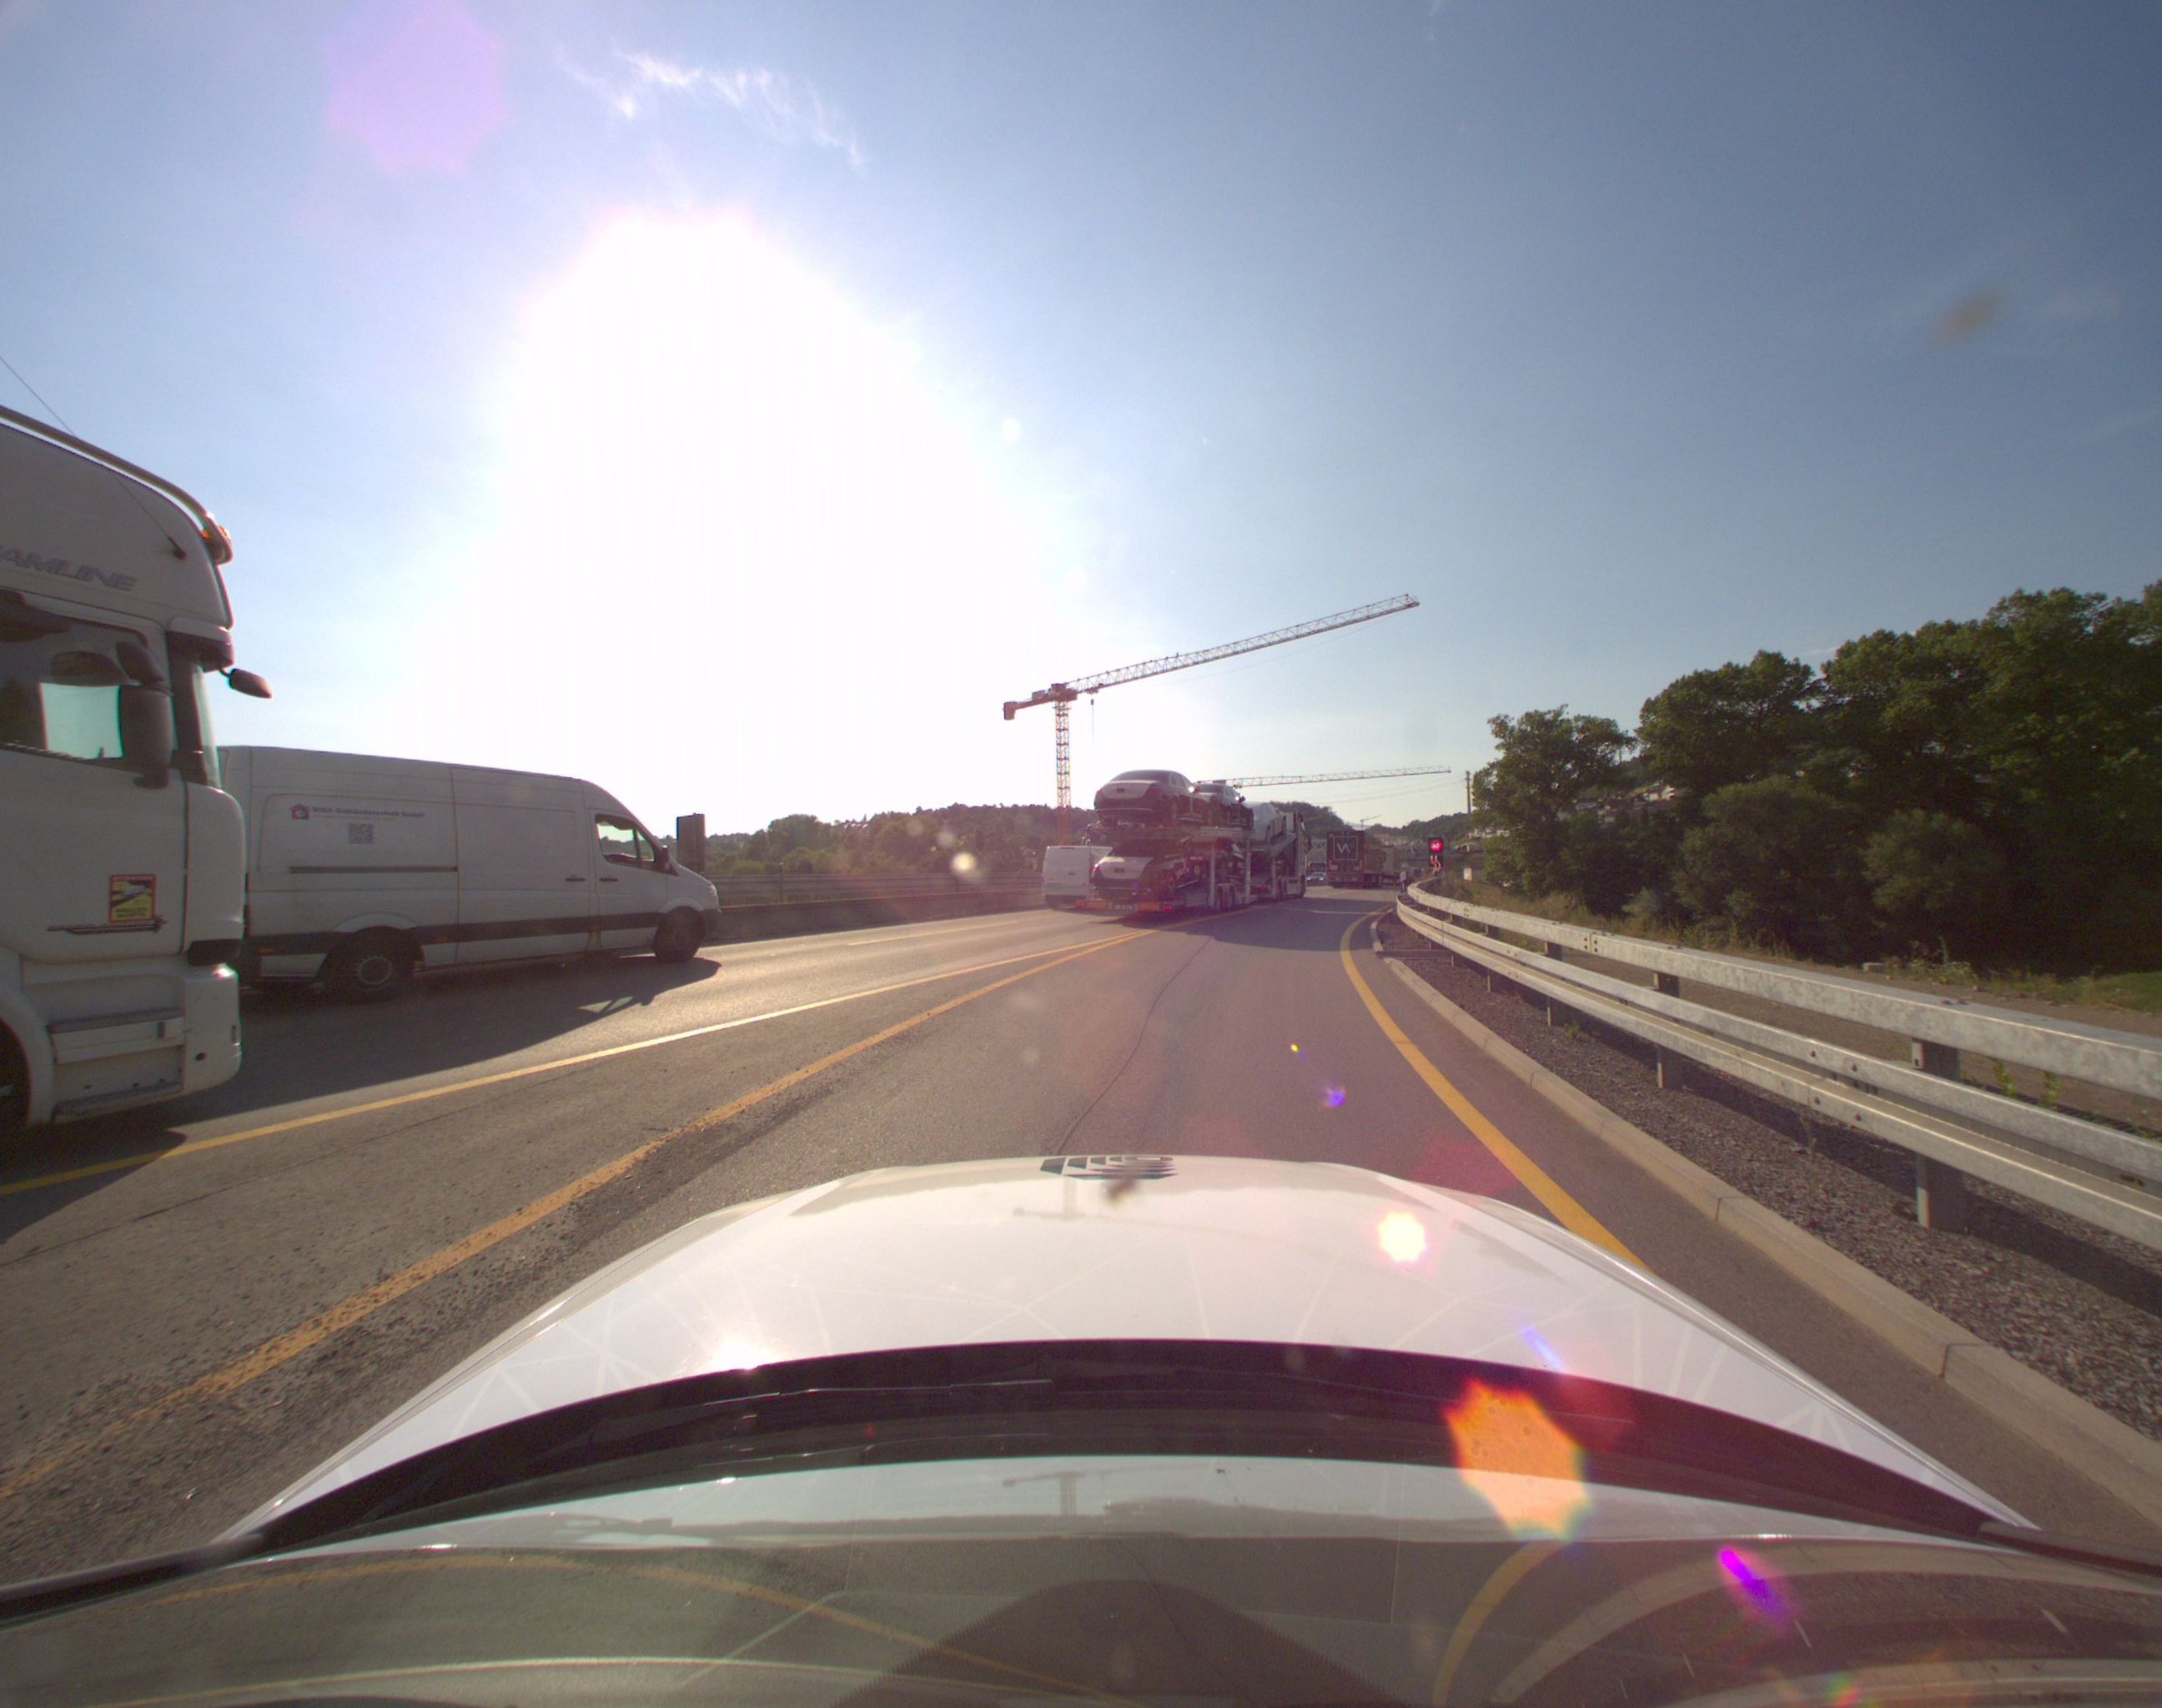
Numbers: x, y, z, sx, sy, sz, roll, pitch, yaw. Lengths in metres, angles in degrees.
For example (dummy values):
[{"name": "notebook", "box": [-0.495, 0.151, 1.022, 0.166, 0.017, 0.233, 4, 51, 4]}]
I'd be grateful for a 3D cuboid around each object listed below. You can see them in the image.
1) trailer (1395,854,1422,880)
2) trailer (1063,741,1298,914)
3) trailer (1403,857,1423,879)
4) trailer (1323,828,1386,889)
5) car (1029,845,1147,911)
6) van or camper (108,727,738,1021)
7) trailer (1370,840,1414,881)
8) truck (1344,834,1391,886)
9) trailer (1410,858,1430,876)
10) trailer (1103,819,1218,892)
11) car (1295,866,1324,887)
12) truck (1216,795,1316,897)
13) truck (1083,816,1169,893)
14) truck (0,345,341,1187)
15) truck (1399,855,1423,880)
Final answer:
[{"name": "trailer", "box": [52.949, 2.128, 131.378, 3.354, 3.997, 14.827, -2, -2, 25]}, {"name": "trailer", "box": [4.182, -0.424, 26.527, 2.831, 3.997, 15.834, -2, -2, 25]}, {"name": "trailer", "box": [67.930, 2.855, 166.211, 3.075, 4.314, 14.331, -2, -2, 25]}, {"name": "trailer", "box": [20.523, 0.422, 60.609, 2.931, 4.092, 10.855, -3, -2, 26]}, {"name": "car", "box": [0.371, 0.743, 27.224, 2.010, 1.981, 5.008, 0, -1, 26]}, {"name": "van or camper", "box": [-7.440, 0.243, 10.343, 1.976, 2.620, 5.936, -1, -2, 23]}, {"name": "trailer", "box": [32.907, 0.804, 85.754, 3.354, 3.997, 14.827, -2, -2, 25]}, {"name": "truck", "box": [23.823, 0.553, 67.476, 2.858, 3.997, 6.662, -2, -2, 26]}, {"name": "trailer", "box": [85.173, 3.261, 204.312, 4.060, 4.314, 14.331, -2, -2, 25]}, {"name": "trailer", "box": [5.578, 0.243, 52.980, 2.603, 4.067, 14.159, -3, -2, 25]}, {"name": "car", "box": [19.231, 1.865, 68.377, 1.814, 1.654, 4.021, -3, -2, 23]}, {"name": "truck", "box": [8.160, -0.221, 35.312, 2.822, 3.997, 6.661, -2, -2, 25]}, {"name": "truck", "box": [2.687, 0.106, 46.723, 2.603, 4.067, 6.164, -3, -2, 25]}, {"name": "truck", "box": [-6.836, -0.433, 2.611, 2.458, 3.879, 6.045, -1, -2, 24]}, {"name": "truck", "box": [55.941, 2.275, 137.883, 3.359, 3.997, 6.661, -2, -2, 25]}]
